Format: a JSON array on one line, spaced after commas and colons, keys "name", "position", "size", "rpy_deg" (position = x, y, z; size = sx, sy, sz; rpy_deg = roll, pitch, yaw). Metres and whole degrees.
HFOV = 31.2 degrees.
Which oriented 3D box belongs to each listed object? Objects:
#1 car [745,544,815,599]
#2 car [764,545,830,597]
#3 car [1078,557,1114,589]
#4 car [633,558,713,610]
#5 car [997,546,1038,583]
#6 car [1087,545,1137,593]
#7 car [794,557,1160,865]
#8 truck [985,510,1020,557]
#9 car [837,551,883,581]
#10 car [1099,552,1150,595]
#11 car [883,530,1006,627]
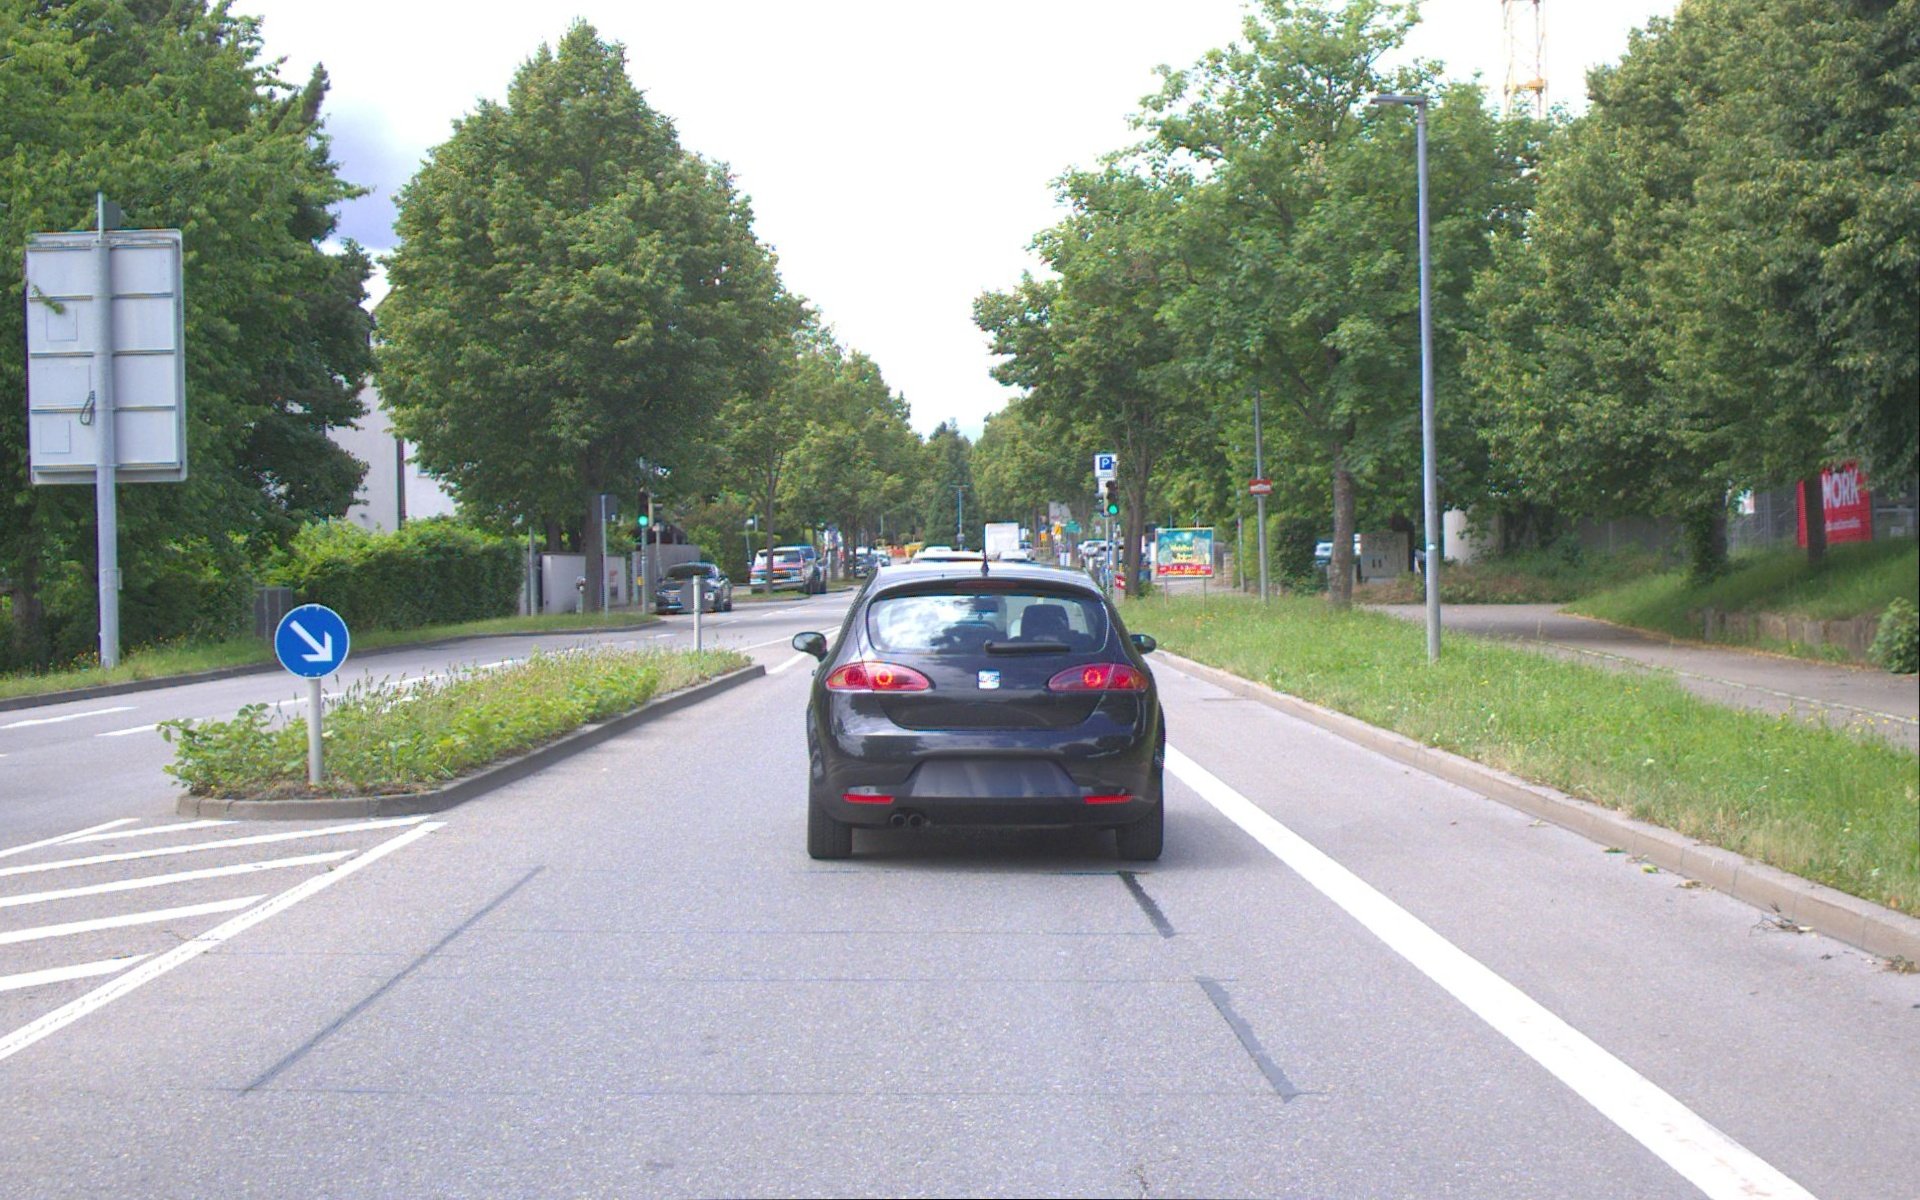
[{"name": "car", "position": [-6.616, -1.060, 127.091], "size": [2.100, 1.890, 5.784], "rpy_deg": [-2, 1, 1]}, {"name": "car", "position": [-6.363, -1.153, 134.641], "size": [2.100, 1.890, 5.784], "rpy_deg": [-2, 1, 1]}, {"name": "car", "position": [6.714, -1.334, 169.726], "size": [1.688, 1.559, 4.213], "rpy_deg": [-1, 1, 1]}, {"name": "car", "position": [-8.146, -0.467, 97.897], "size": [1.718, 1.390, 4.801], "rpy_deg": [-2, 1, 1]}, {"name": "car", "position": [2.691, -1.671, 160.224], "size": [1.881, 1.683, 4.213], "rpy_deg": [-1, 1, 1]}, {"name": "car", "position": [5.577, -1.141, 126.476], "size": [1.688, 1.706, 4.213], "rpy_deg": [-1, 1, 1]}, {"name": "car", "position": [0.076, 0.498, 17.747], "size": [1.663, 1.396, 3.812], "rpy_deg": [1, 0, 0]}, {"name": "truck", "position": [2.891, -4.549, 236.077], "size": [2.279, 3.093, 8.510], "rpy_deg": [1, 0, 1]}, {"name": "car", "position": [-5.344, -1.813, 184.407], "size": [2.100, 1.501, 5.784], "rpy_deg": [-2, 1, 1]}, {"name": "car", "position": [5.799, -0.936, 121.357], "size": [1.688, 1.485, 3.355], "rpy_deg": [-1, 1, 1]}, {"name": "car", "position": [-0.215, -0.350, 55.938], "size": [1.846, 1.504, 3.811], "rpy_deg": [1, 0, 2]}]
